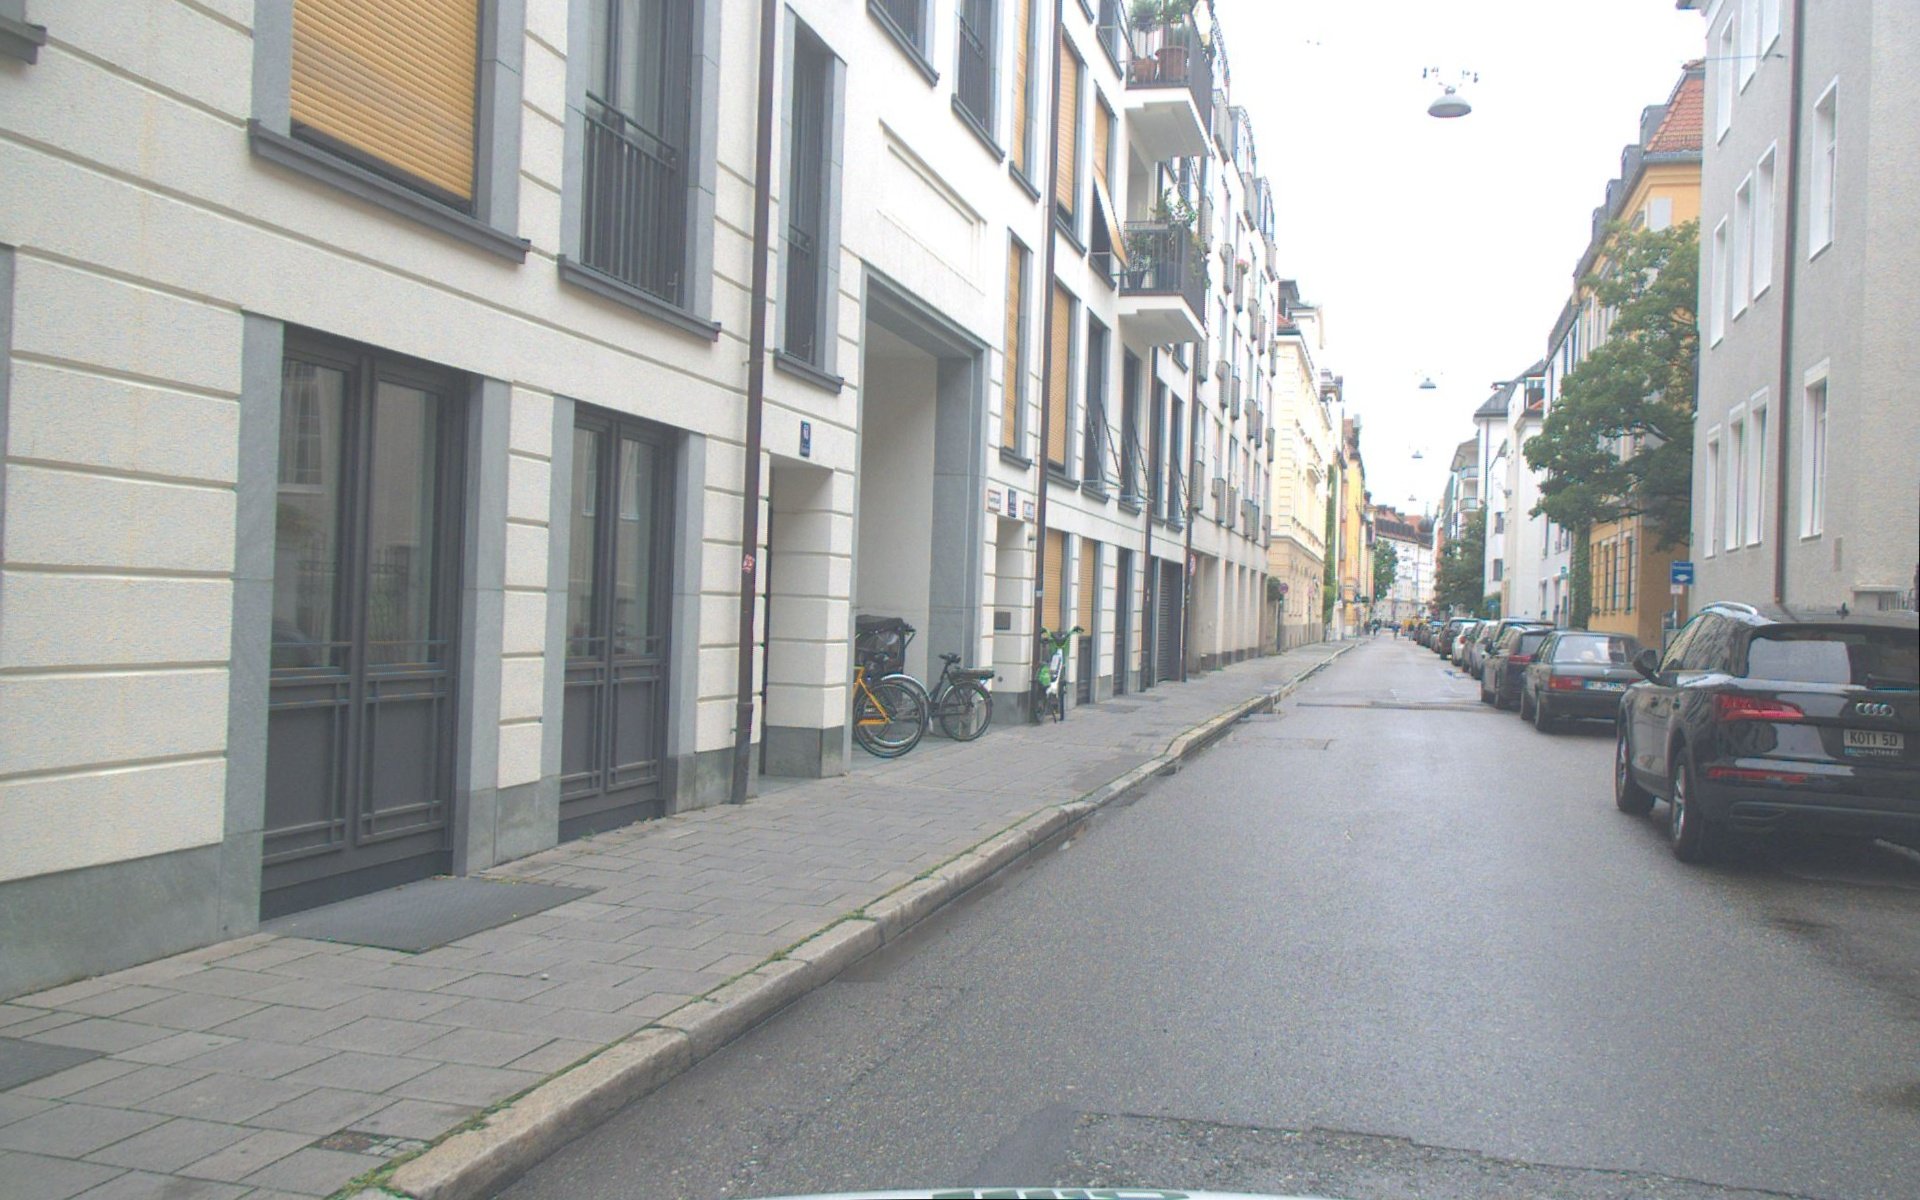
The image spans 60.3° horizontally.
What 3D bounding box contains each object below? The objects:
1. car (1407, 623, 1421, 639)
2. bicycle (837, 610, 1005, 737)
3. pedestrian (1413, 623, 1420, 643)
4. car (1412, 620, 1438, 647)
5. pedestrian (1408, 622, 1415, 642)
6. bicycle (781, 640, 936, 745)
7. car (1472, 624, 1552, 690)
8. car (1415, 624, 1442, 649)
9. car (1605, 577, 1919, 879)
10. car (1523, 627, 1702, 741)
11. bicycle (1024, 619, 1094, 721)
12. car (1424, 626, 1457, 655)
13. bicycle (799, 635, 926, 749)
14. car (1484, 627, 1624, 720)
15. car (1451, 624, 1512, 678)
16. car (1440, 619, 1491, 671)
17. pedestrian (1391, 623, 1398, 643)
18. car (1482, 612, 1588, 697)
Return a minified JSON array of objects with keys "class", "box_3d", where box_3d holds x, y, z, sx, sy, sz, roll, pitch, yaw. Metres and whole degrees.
[{"class":"car","box_3d":[51.663,3.502,188.093,1.335,1.685,3.469,2,0,13]},{"class":"bicycle","box_3d":[-0.381,0.752,16.647,1.664,1.214,0.376,3,1,-32]},{"class":"pedestrian","box_3d":[38.185,2.764,138.256,0.527,1.682,0.377,2,0,15]},{"class":"car","box_3d":[34.665,2.489,123.280,1.665,1.950,3.776,2,0,14]},{"class":"pedestrian","box_3d":[38.663,2.741,141.532,0.527,1.682,0.377,2,0,15]},{"class":"bicycle","box_3d":[-0.953,0.873,15.577,1.366,0.904,0.378,3,1,-19]},{"class":"car","box_3d":[14.490,1.468,43.566,1.665,1.573,3.776,2,0,14]},{"class":"car","box_3d":[33.344,2.617,117.718,1.720,1.658,3.595,2,0,15]},{"class":"car","box_3d":[5.811,0.767,11.538,1.854,1.670,4.325,2,0,14]},{"class":"car","box_3d":[9.232,1.133,23.698,1.854,1.400,3.798,3,0,14]},{"class":"bicycle","box_3d":[1.231,0.839,20.173,0.333,1.166,2.192,2,-1,16]},{"class":"car","box_3d":[28.752,2.396,99.043,1.665,1.652,3.776,2,0,14]},{"class":"bicycle","box_3d":[-0.875,0.832,14.882,1.047,0.964,0.306,3,1,-19]},{"class":"car","box_3d":[10.287,1.228,28.884,1.854,1.400,3.942,3,0,14]},{"class":"car","box_3d":[17.458,1.680,55.536,1.665,1.652,3.776,2,0,14]},{"class":"car","box_3d":[19.979,1.747,65.525,1.665,1.933,3.776,2,0,14]},{"class":"pedestrian","box_3d":[37.016,2.804,140.839,0.527,1.682,0.377,2,0,15]},{"class":"car","box_3d":[11.770,1.076,34.039,1.665,1.573,3.776,2,0,14]}]
